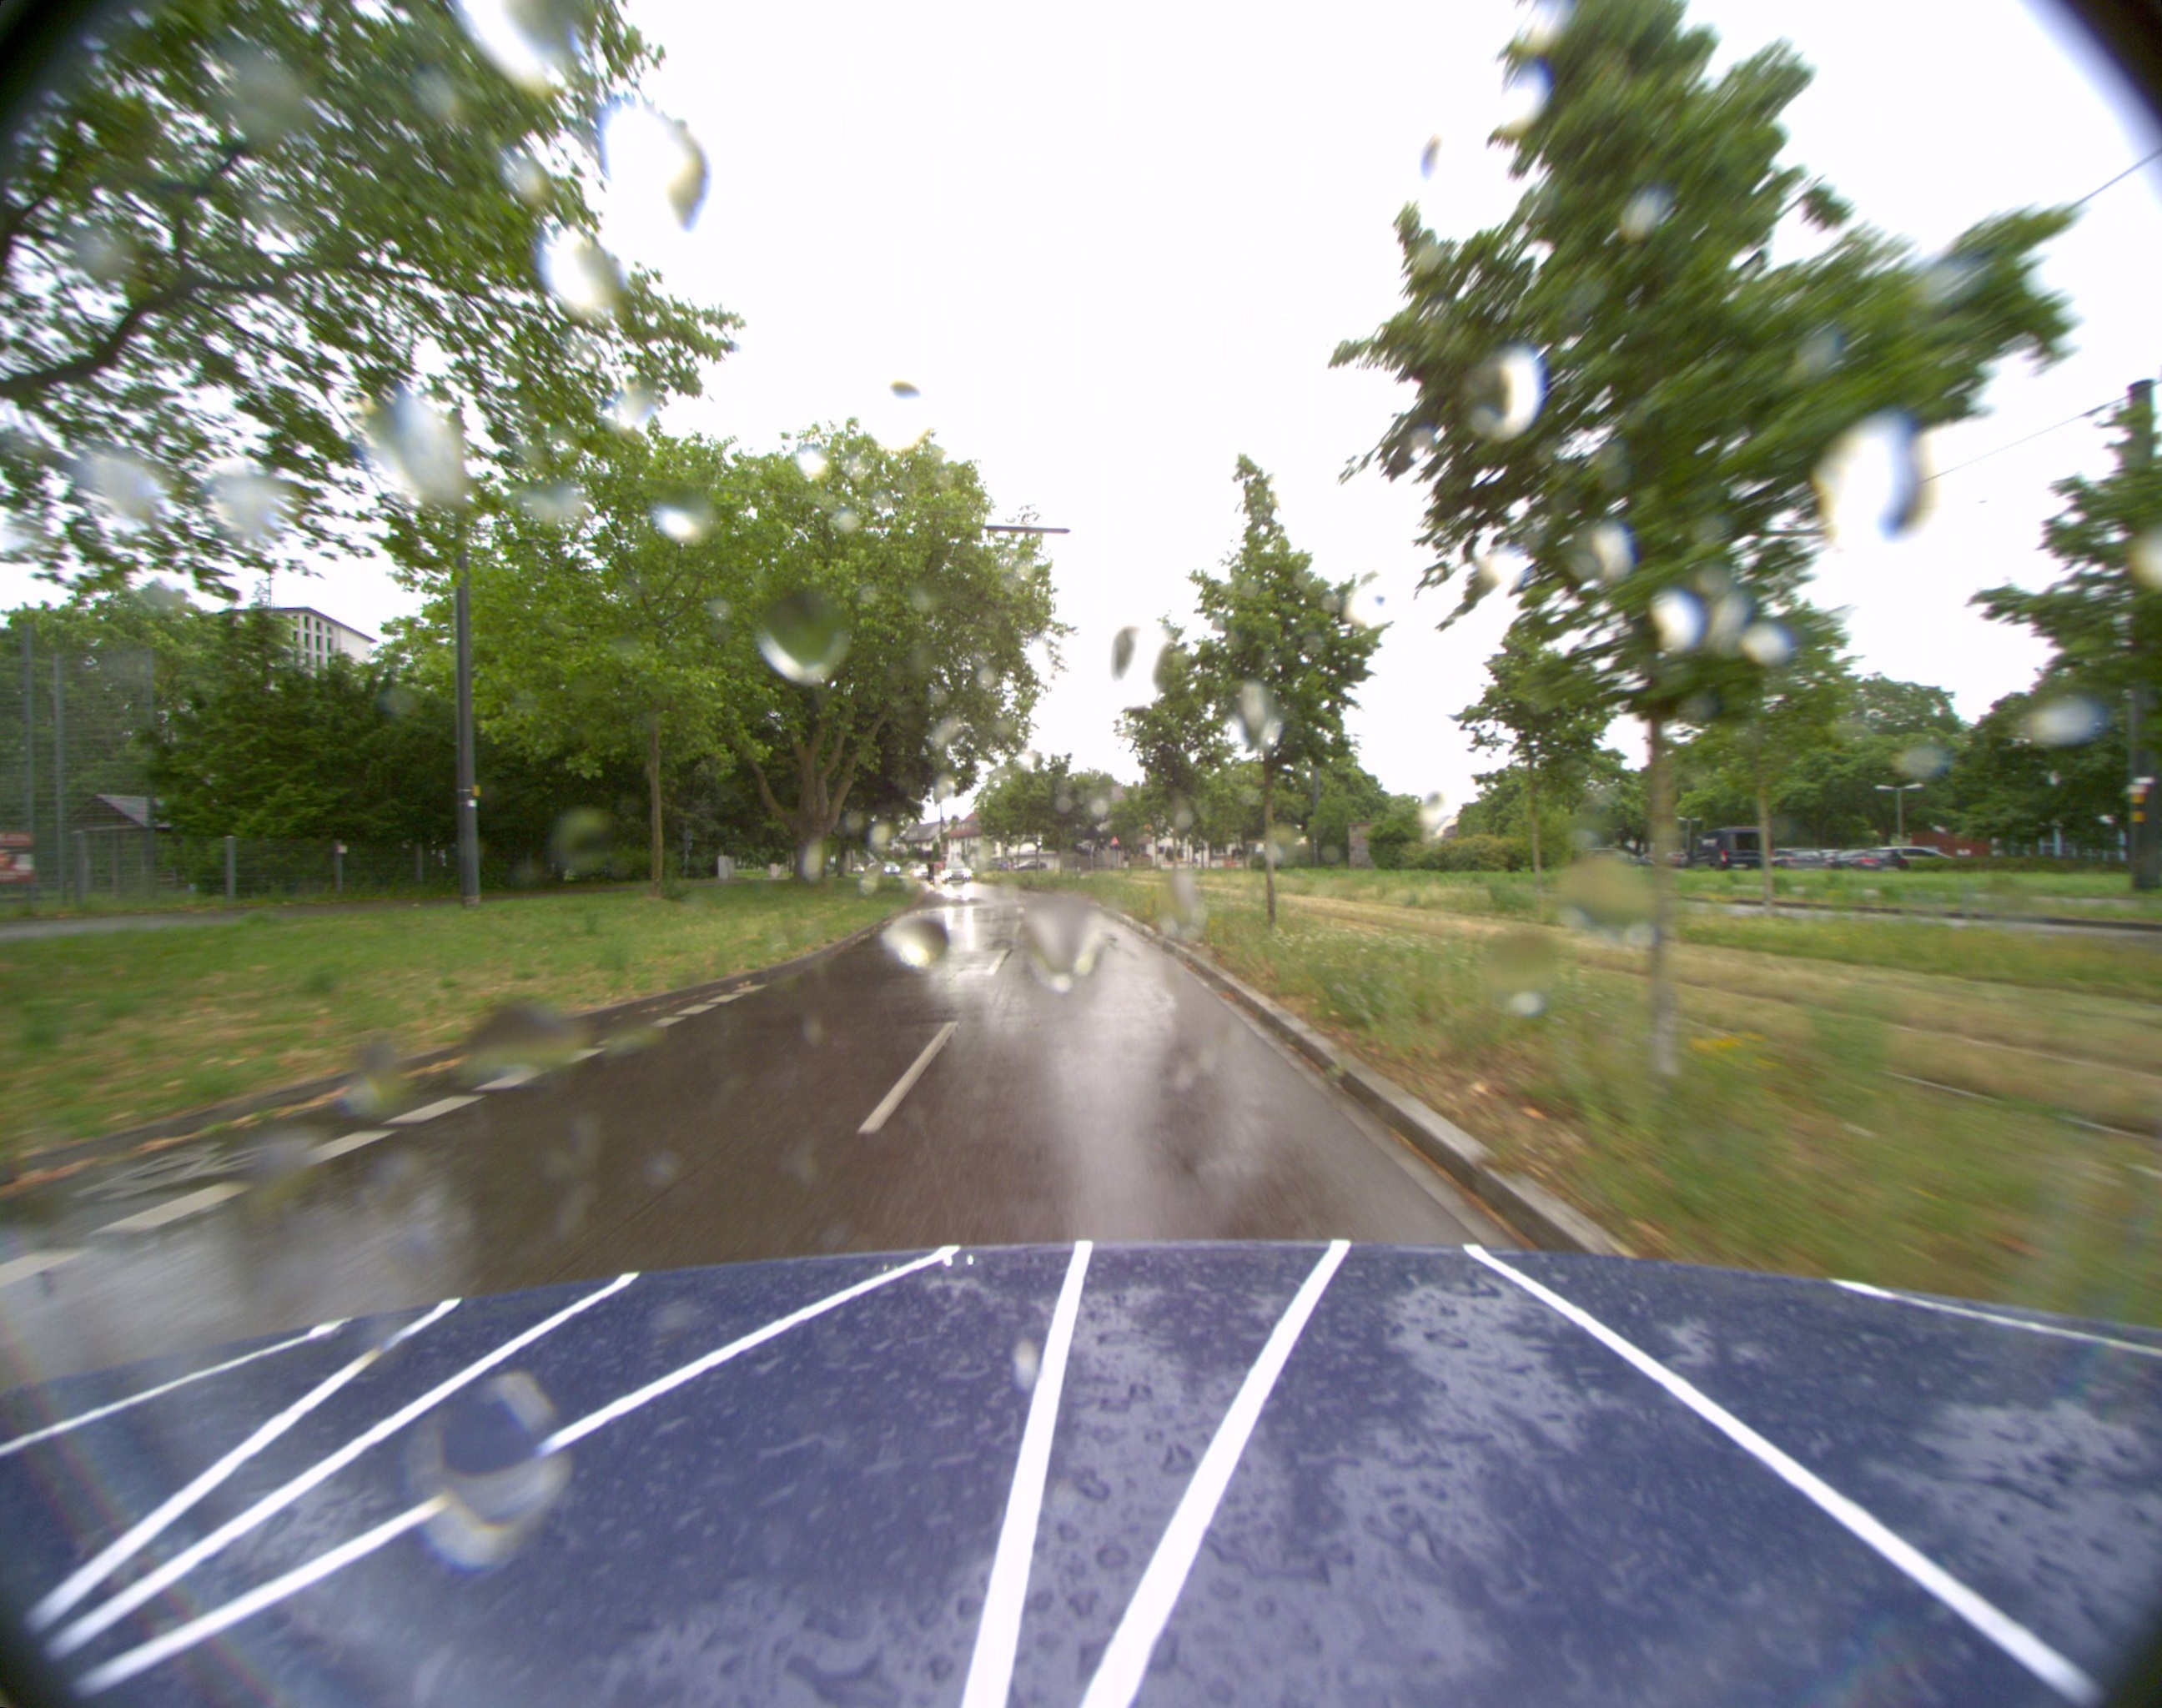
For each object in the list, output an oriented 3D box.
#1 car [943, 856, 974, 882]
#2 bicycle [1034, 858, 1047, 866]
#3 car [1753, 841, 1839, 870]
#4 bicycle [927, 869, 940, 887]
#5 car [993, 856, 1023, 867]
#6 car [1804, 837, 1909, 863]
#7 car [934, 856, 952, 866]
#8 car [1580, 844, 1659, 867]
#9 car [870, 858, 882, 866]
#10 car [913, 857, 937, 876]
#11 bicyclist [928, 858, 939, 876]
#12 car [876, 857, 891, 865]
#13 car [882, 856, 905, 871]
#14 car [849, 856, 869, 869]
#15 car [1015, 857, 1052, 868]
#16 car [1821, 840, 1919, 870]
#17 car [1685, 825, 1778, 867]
[{"bbox_3d":[-9.164,1.097,56.727,1.769,1.715,3.929,-3,0,-15],"label":"car"},{"bbox_3d":[-5.392,1.085,100.544,1.836,1.013,0.483,-2,3,37],"label":"bicycle"},{"bbox_3d":[34.942,0.066,37.270,1.832,1.331,4.105,0,0,24],"label":"car"},{"bbox_3d":[-8.820,1.423,45.501,0.659,1.008,2.255,0,0,-8],"label":"bicycle"},{"bbox_3d":[-10.860,1.143,113.145,4.006,1.567,1.888,-1,0,-29],"label":"car"},{"bbox_3d":[45.910,-0.229,45.079,4.051,1.426,1.694,-1,0,28],"label":"car"},{"bbox_3d":[-23.099,1.108,127.285,1.850,1.538,3.964,-4,1,-27],"label":"car"},{"bbox_3d":[35.436,0.115,50.093,4.051,1.426,1.694,-1,0,28],"label":"car"},{"bbox_3d":[-44.781,1.703,165.973,1.721,1.520,3.593,-4,2,-29],"label":"car"},{"bbox_3d":[-15.144,1.190,73.623,1.770,1.715,3.928,-2,1,-18],"label":"car"},{"bbox_3d":[-8.828,0.786,45.541,0.622,1.078,0.624,0,1,-8],"label":"bicyclist"},{"bbox_3d":[-41.554,1.514,159.956,1.853,1.696,4.173,-2,1,-30],"label":"car"},{"bbox_3d":[-22.642,1.144,91.608,1.771,1.715,3.925,-1,0,-28],"label":"car"},{"bbox_3d":[-31.437,1.175,107.427,1.771,1.715,3.925,-1,0,-31],"label":"car"},{"bbox_3d":[-6.629,1.119,105.944,4.747,1.357,1.844,-2,0,-26],"label":"car"},{"bbox_3d":[37.205,0.049,35.968,1.832,1.331,4.105,0,0,24],"label":"car"},{"bbox_3d":[32.295,-0.366,37.893,2.032,1.936,4.722,0,0,21],"label":"car"}]
